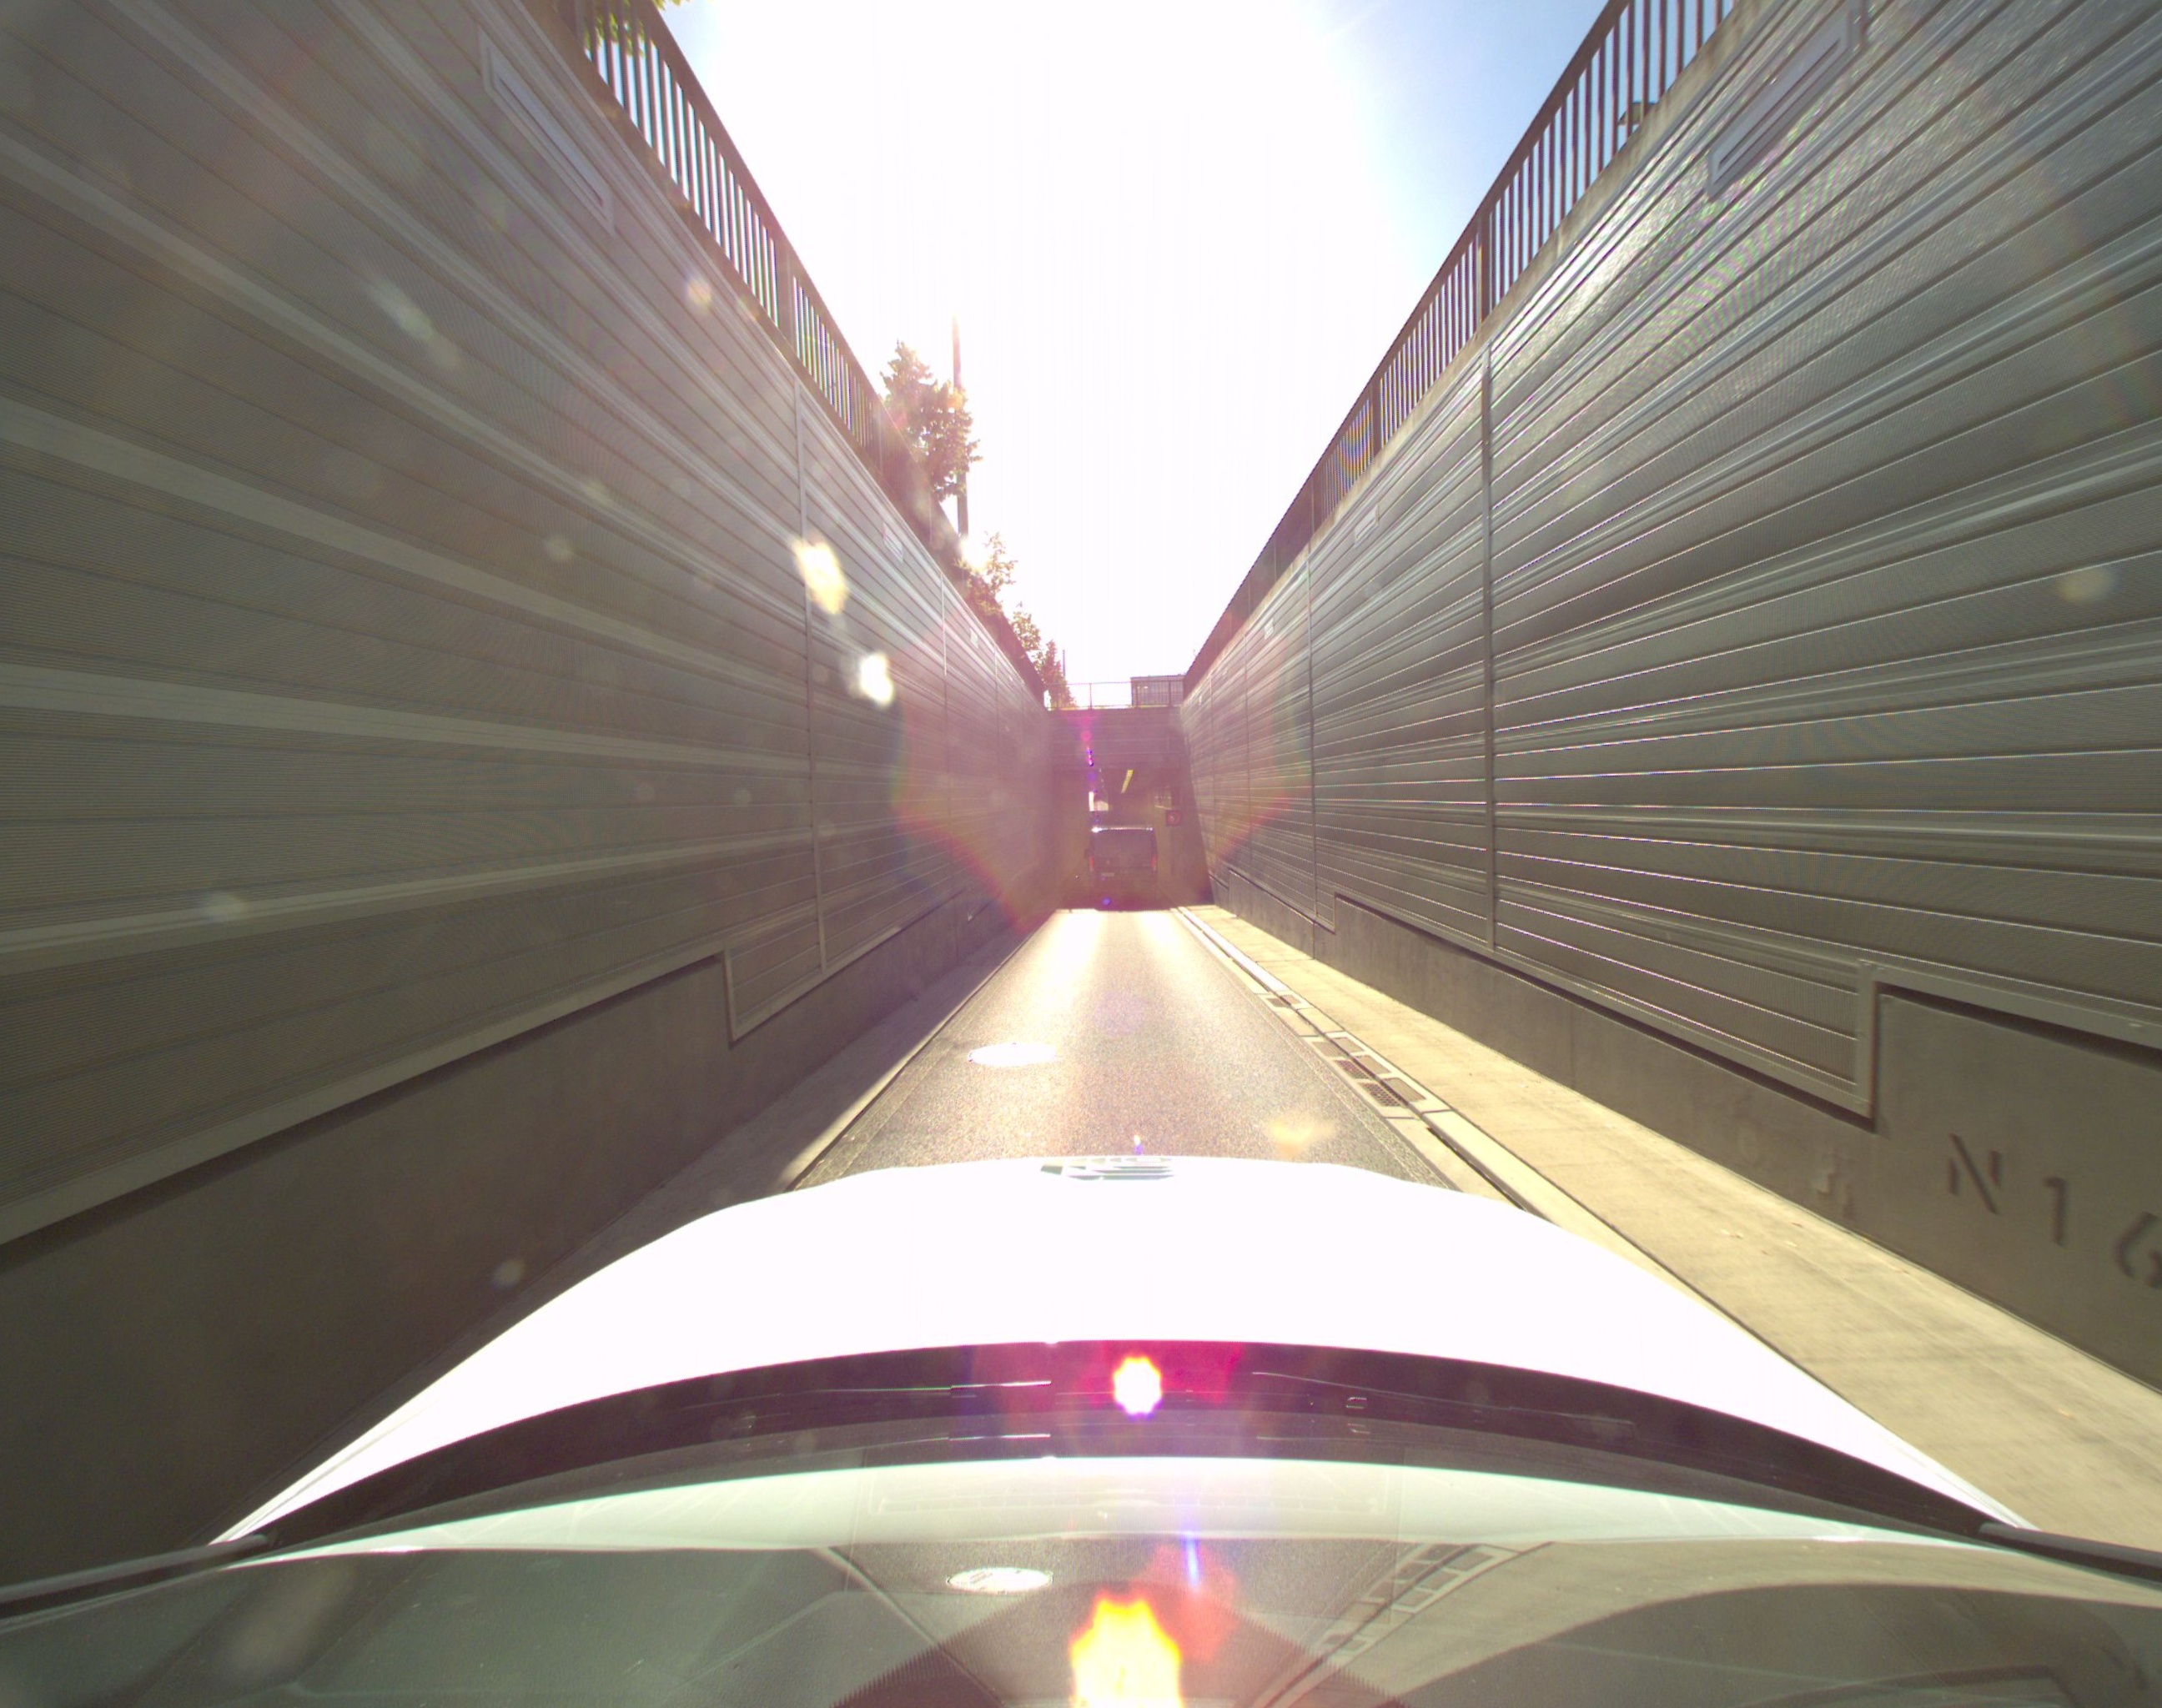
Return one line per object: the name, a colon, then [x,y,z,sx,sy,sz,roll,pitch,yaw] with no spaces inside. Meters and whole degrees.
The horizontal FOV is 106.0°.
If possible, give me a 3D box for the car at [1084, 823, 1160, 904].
car: [1.284,0.253,25.754,2.150,2.266,4.640,-1,0,2]
